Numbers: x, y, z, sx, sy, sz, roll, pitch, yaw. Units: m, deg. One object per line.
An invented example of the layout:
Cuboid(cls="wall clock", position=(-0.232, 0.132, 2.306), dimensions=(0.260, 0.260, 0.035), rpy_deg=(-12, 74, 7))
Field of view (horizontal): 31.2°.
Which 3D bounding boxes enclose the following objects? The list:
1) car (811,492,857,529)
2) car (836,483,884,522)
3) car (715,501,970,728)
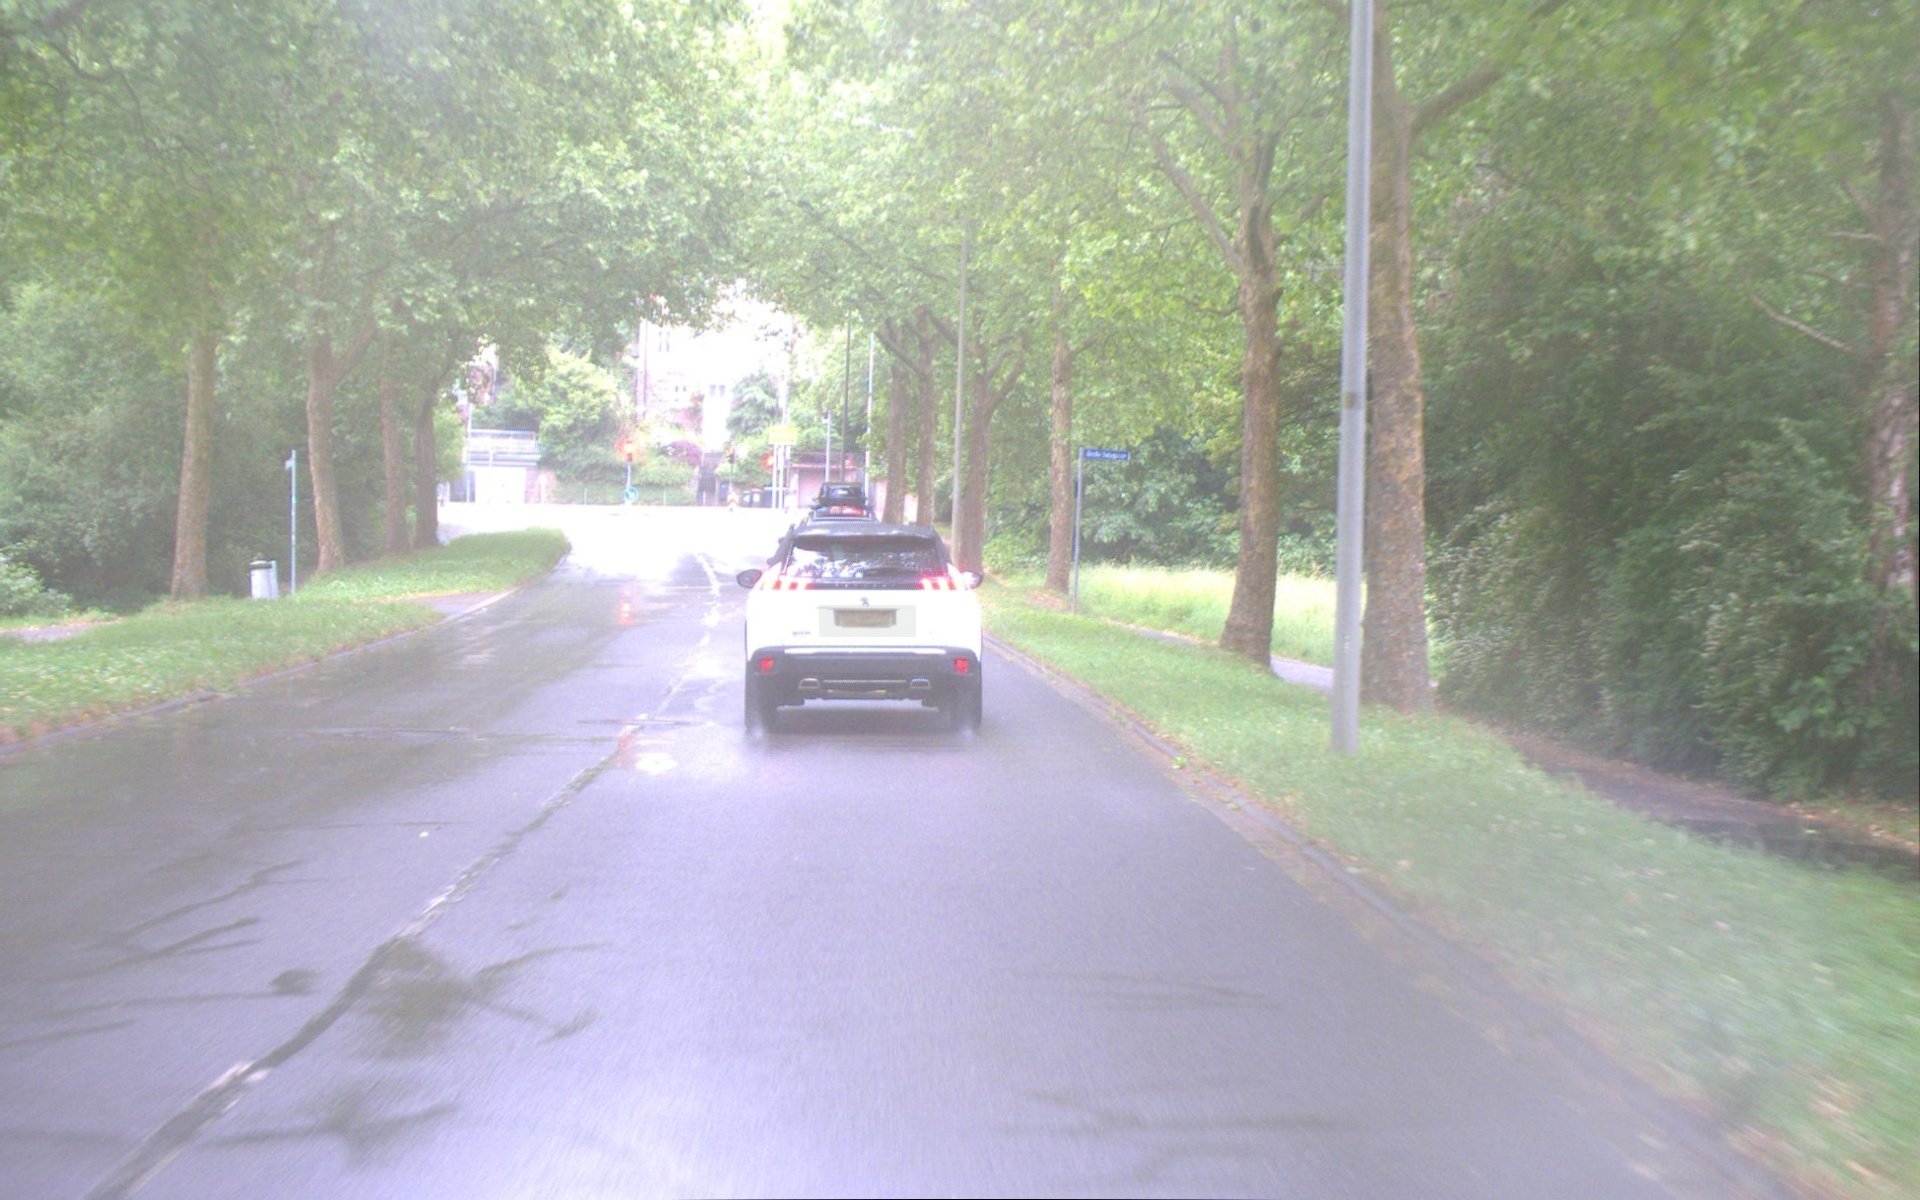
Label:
Cuboid(cls="car", position=(-5.716, -4.065, 156.387), dimensions=(1.827, 1.590, 3.654), rpy_deg=(2, 1, 1))
Cuboid(cls="car", position=(-4.252, -4.144, 146.817), dimensions=(1.827, 1.590, 3.654), rpy_deg=(2, 1, 1))
Cuboid(cls="car", position=(-0.863, 0.049, 26.648), dimensions=(1.794, 1.573, 3.845), rpy_deg=(2, 2, 0))
